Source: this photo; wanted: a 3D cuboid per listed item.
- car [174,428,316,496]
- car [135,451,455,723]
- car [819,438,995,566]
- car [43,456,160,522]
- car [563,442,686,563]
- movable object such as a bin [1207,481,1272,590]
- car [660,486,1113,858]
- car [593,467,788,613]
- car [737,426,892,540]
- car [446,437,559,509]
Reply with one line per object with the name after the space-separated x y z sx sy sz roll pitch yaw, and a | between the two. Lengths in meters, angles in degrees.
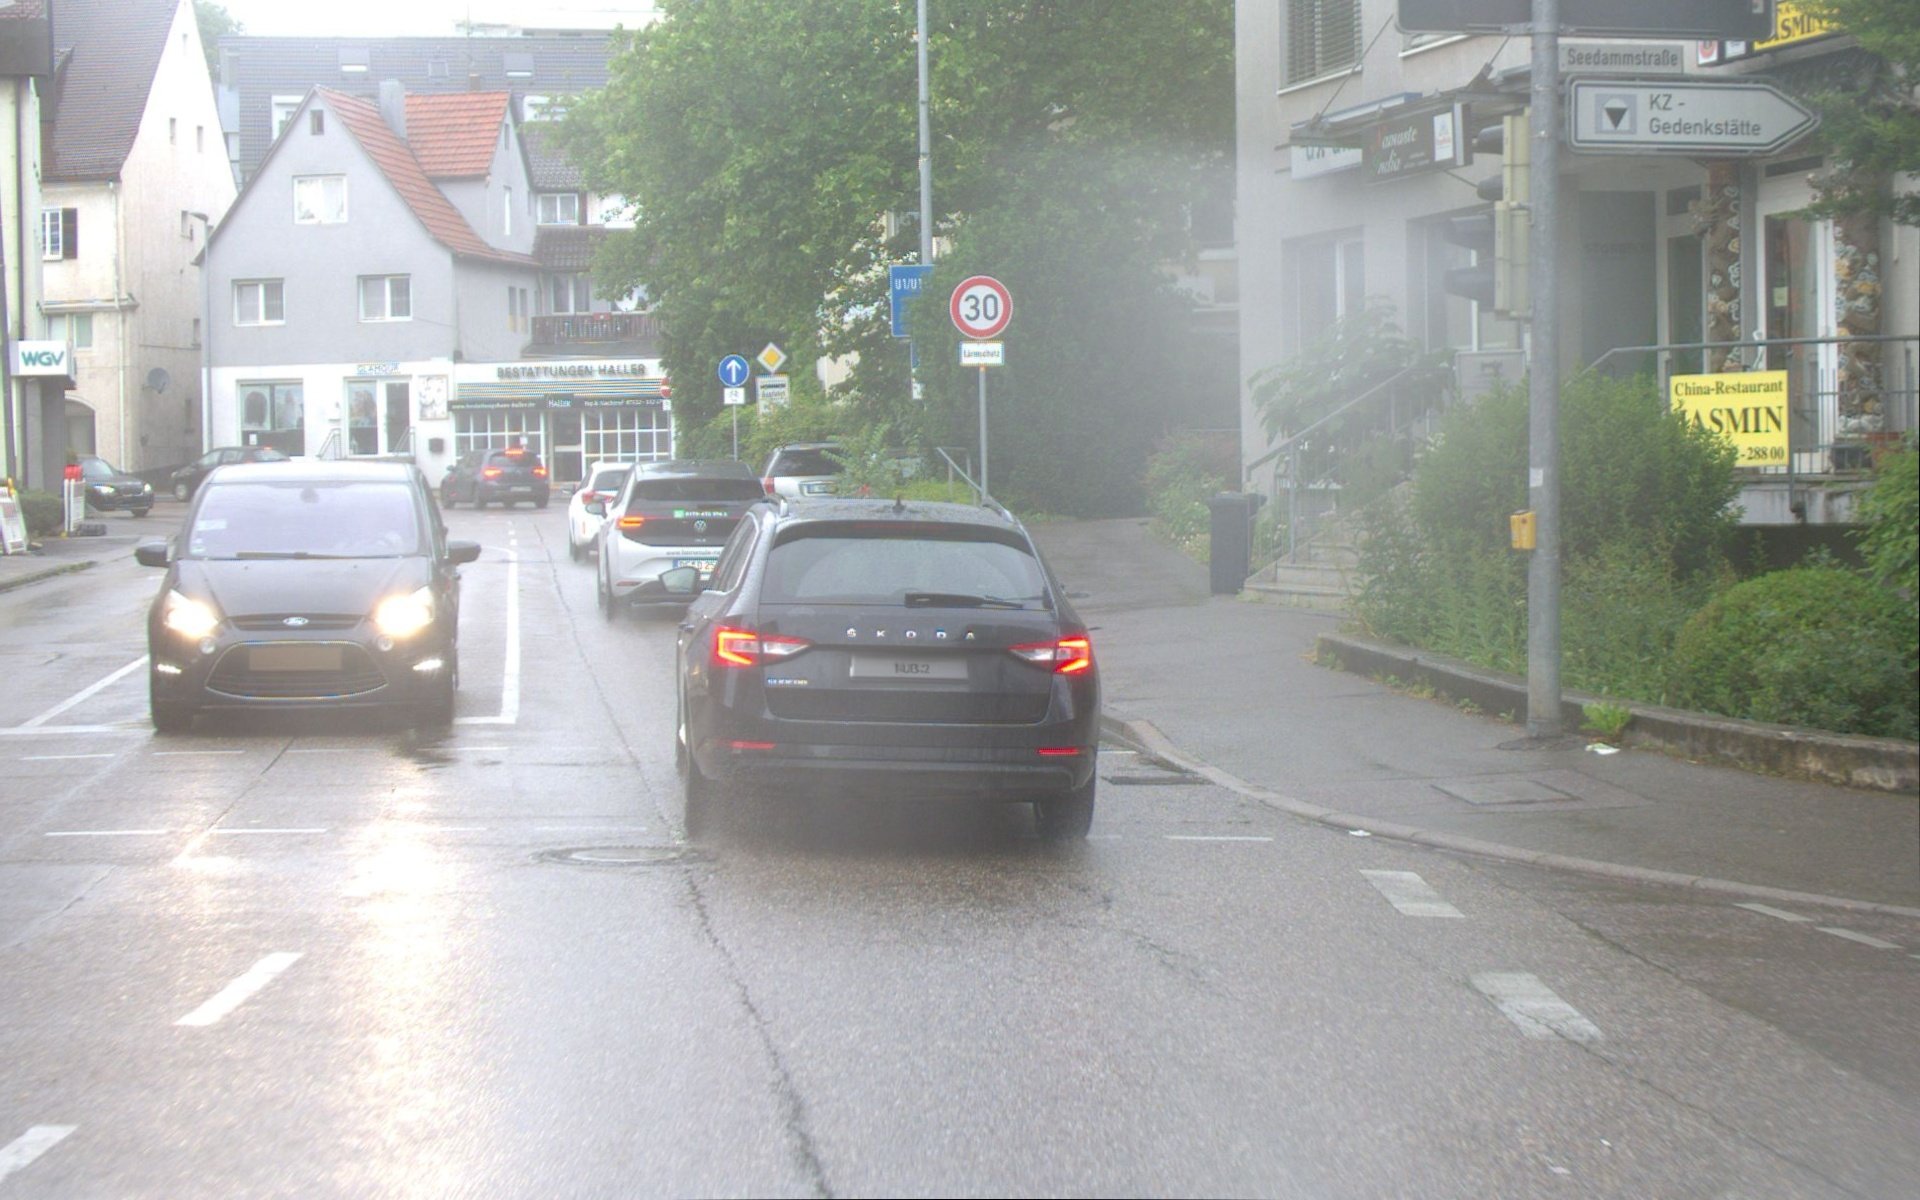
-19.295 -3.719 92.690 3.685 1.676 1.894 -1 2 42 | car
-4.143 -0.166 21.983 1.784 1.557 4.404 0 2 -8 | car
-0.777 -1.372 47.495 1.852 1.635 3.539 -2 2 -10 | car
-21.641 -2.777 86.568 1.659 1.565 4.000 -2 2 -32 | car
-4.930 -1.400 50.651 1.727 1.585 4.184 0 -1 -5 | car
2.607 -0.607 32.059 0.512 0.942 0.602 3 6 11 | movable object such as a bin
-0.482 0.231 16.200 1.781 1.478 4.247 2 2 -5 | car
-2.753 -0.634 34.580 1.817 1.355 3.991 -1 2 -6 | car
-2.291 -1.821 53.279 1.852 1.635 3.872 -2 2 -10 | car
-11.013 -3.039 82.628 1.892 1.585 3.689 -2 2 -20 | car
